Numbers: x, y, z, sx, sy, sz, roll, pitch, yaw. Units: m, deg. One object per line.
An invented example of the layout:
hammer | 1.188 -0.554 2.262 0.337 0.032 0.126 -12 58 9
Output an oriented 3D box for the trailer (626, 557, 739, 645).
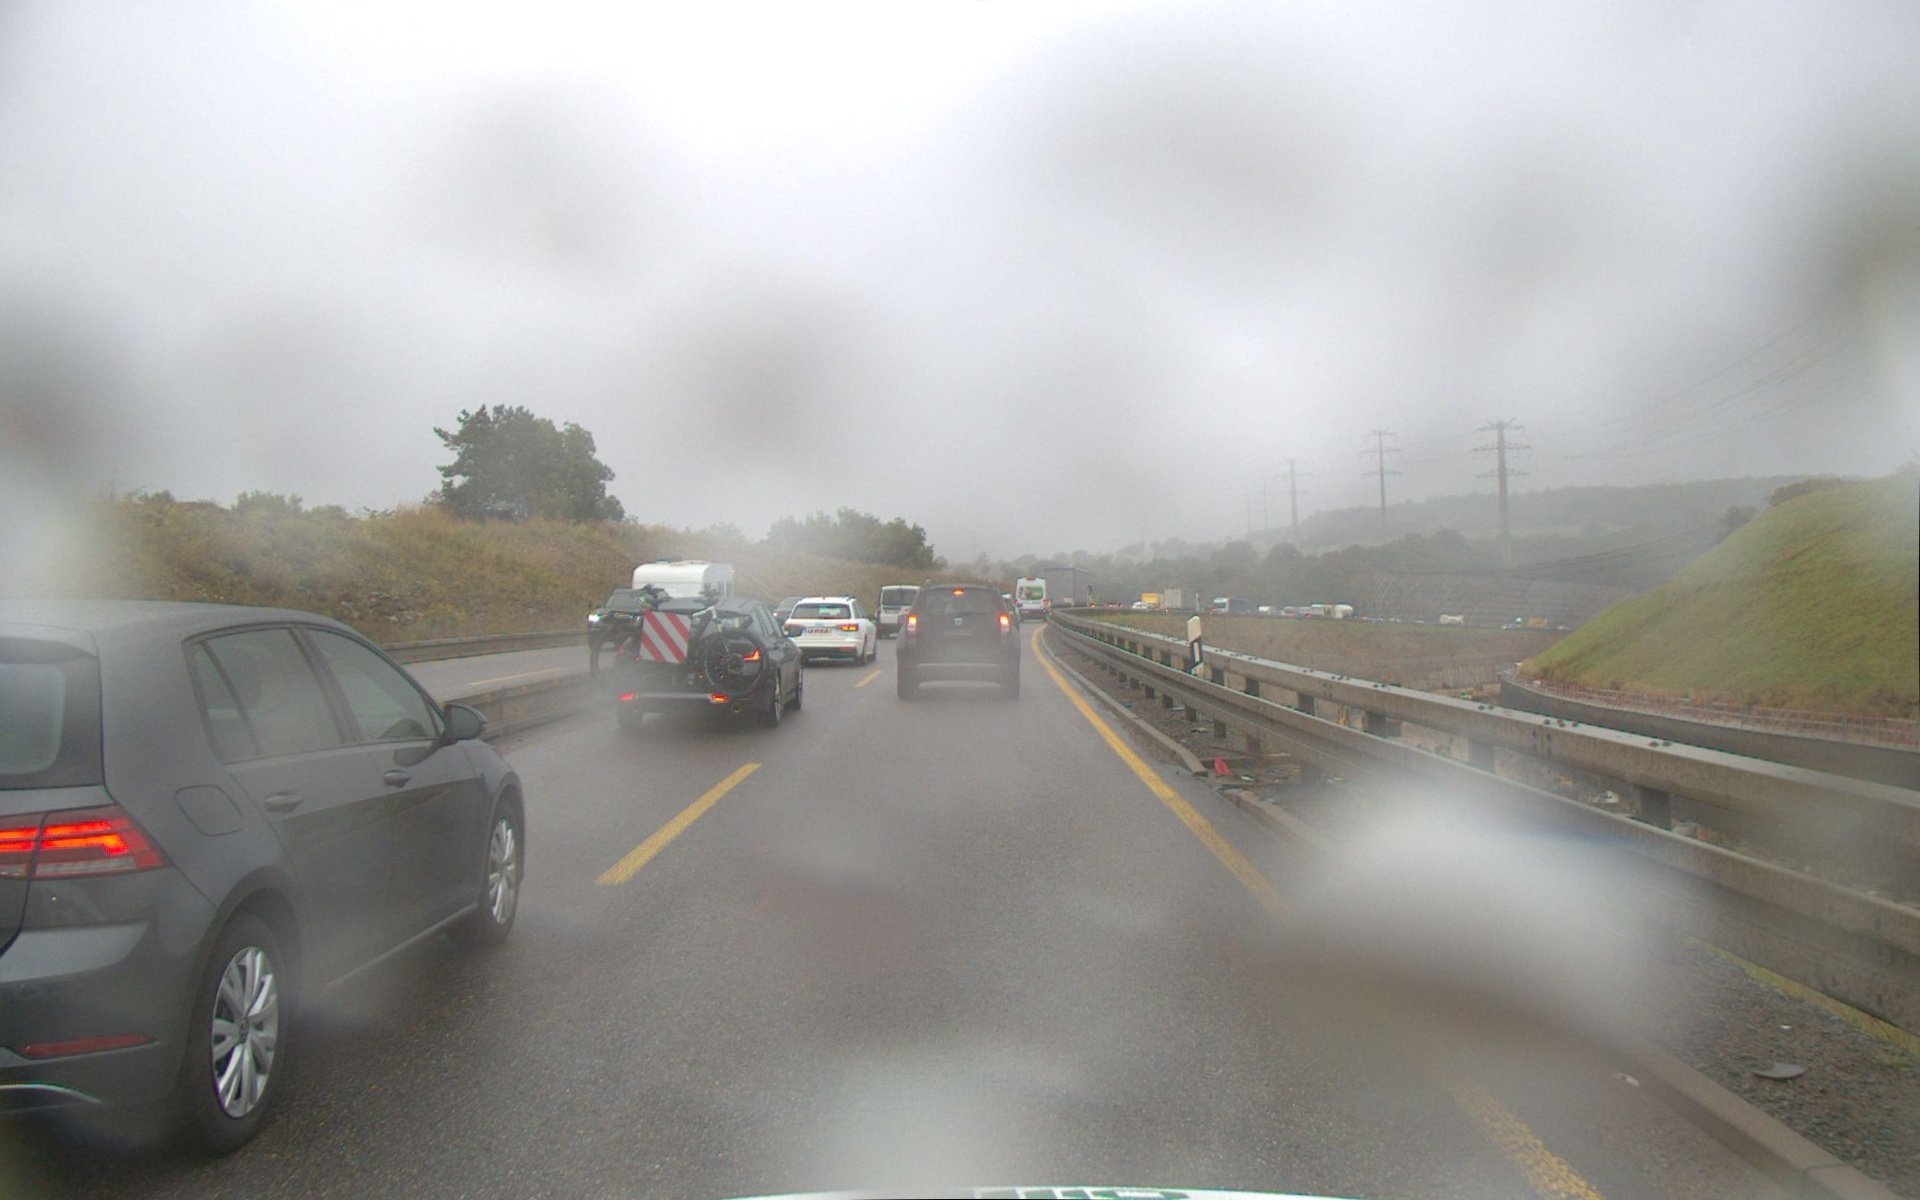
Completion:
trailer | -8.843 0.020 53.388 2.459 2.609 7.162 1 0 -1

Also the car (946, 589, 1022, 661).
car | 0.575 0.611 42.524 1.829 1.738 4.000 1 0 0

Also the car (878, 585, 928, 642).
car | -2.005 0.468 59.102 1.626 1.913 4.019 1 0 0

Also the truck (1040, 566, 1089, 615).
truck | 8.632 -0.715 135.955 3.132 3.827 8.516 1 0 9

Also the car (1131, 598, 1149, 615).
car | 20.749 0.751 190.113 1.737 1.949 4.003 1 0 10

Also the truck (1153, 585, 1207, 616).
truck | 32.231 0.092 241.251 4.619 4.222 15.686 1 0 20

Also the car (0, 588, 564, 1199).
car | -2.601 0.770 5.474 1.581 1.532 4.367 -1 0 -1

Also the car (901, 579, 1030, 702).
car | 0.151 0.558 24.409 1.767 1.675 3.777 0 0 2

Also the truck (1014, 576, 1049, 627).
truck | 4.669 0.073 108.681 2.105 3.221 6.461 1 0 2

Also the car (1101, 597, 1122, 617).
car | 15.519 0.736 169.198 1.737 1.949 4.003 1 0 10

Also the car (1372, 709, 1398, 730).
car | 48.317 13.566 188.280 2.315 2.049 4.003 1 0 7

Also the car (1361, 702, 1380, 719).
car | 50.791 13.700 204.671 1.951 1.847 4.003 0 0 9

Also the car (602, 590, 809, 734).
car | -2.836 0.656 19.184 1.791 1.502 3.776 0 0 0

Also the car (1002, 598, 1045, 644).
car | 2.395 0.771 62.794 1.499 1.669 4.013 1 0 0

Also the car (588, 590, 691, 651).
car | -9.076 0.544 47.240 1.953 1.614 5.118 1 0 -1

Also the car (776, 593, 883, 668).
car | -2.757 0.625 35.807 1.829 1.486 4.549 1 0 1
